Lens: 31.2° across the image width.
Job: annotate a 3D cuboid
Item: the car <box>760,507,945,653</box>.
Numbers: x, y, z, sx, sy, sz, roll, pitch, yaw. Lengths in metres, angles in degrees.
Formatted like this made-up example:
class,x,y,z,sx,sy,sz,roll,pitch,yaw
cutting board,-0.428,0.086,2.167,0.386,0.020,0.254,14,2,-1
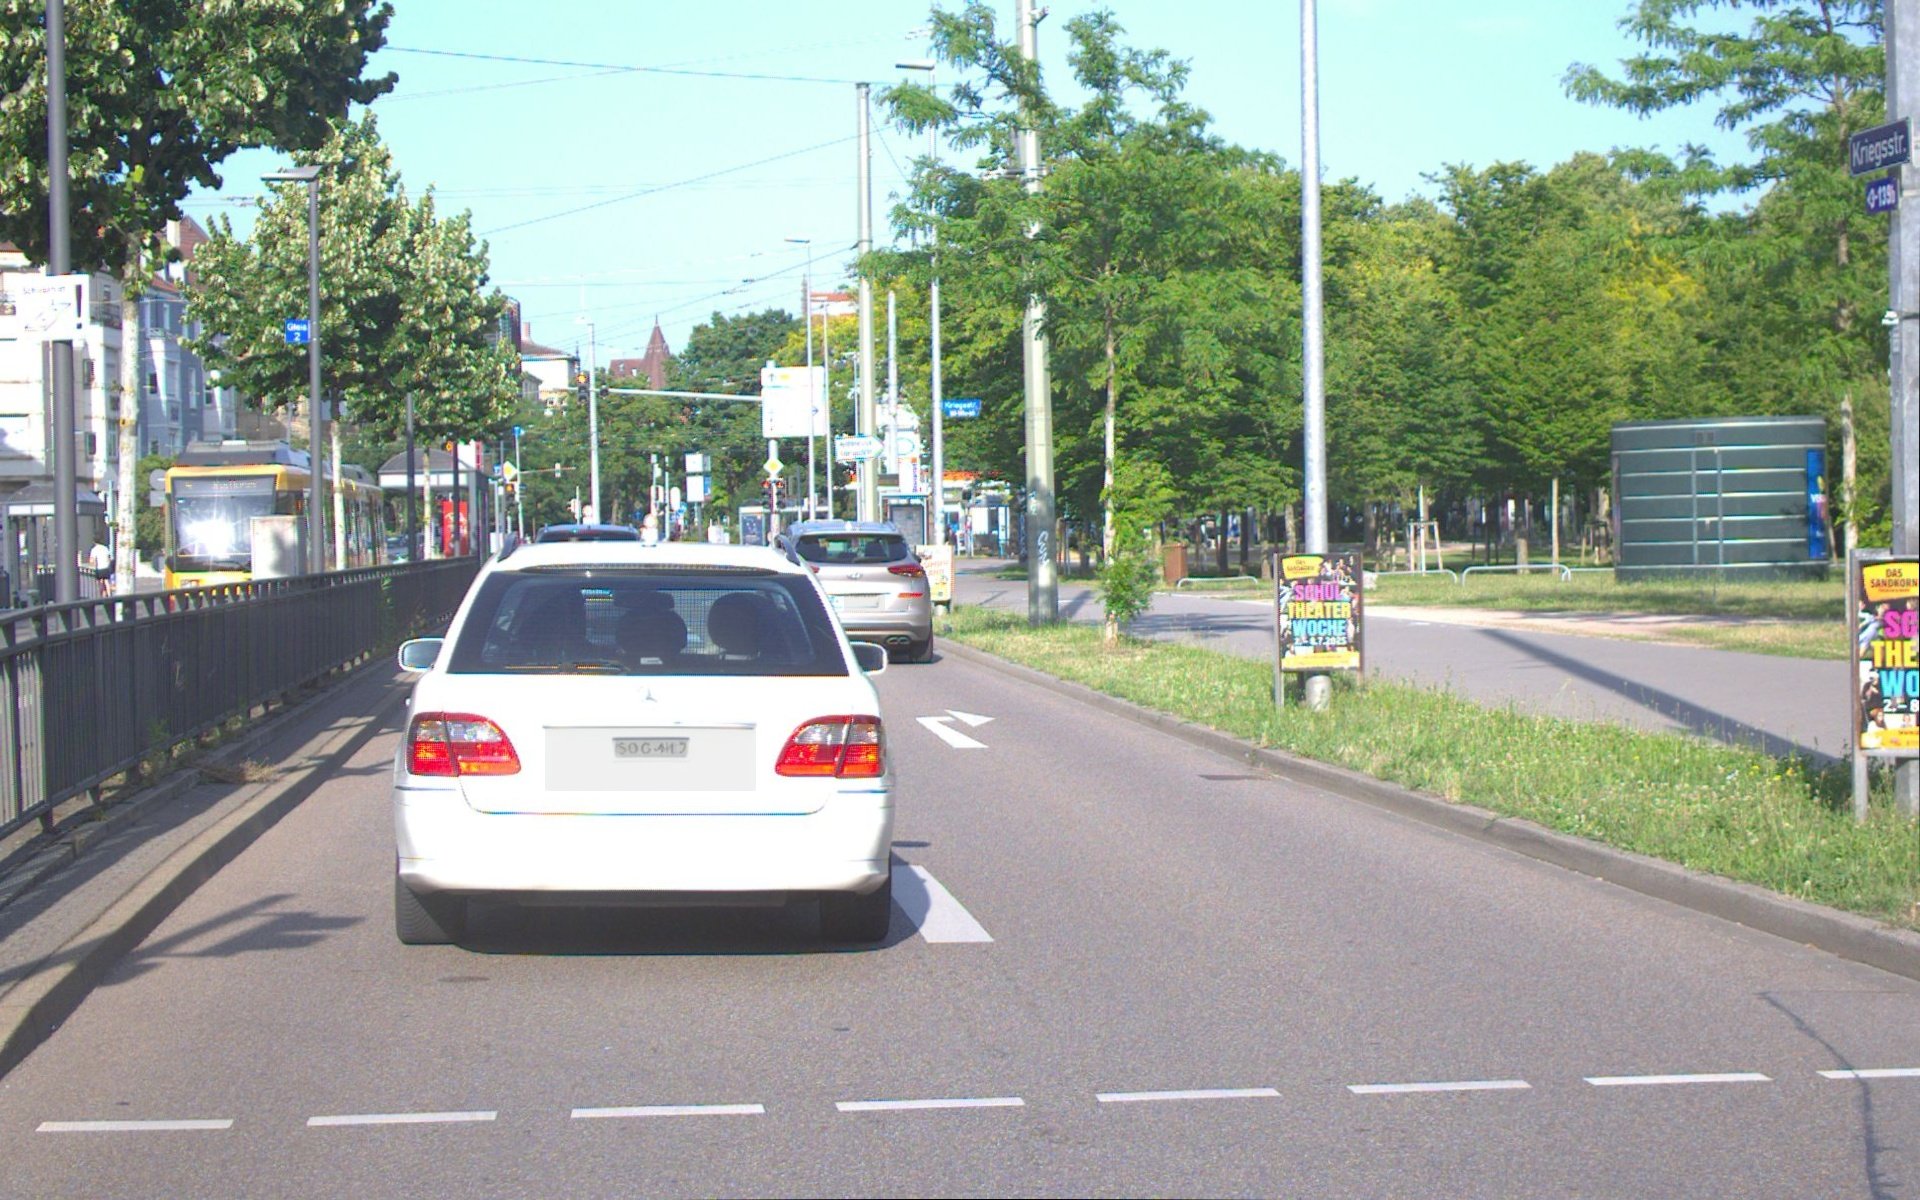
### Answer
class,x,y,z,sx,sy,sz,roll,pitch,yaw
car,-1.250,-0.272,40.010,2.033,1.600,4.001,0,1,-2

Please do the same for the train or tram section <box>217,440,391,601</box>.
class,x,y,z,sx,sy,sz,roll,pitch,yaw
train or tram section,-15.321,-1.901,81.174,2.849,3.467,13.203,0,1,-6

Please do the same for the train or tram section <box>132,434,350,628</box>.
class,x,y,z,sx,sy,sz,roll,pitch,yaw
train or tram section,-14.060,-1.422,68.246,2.849,3.467,13.203,0,2,-6

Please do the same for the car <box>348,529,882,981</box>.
class,x,y,z,sx,sy,sz,roll,pitch,yaw
car,-1.190,0.522,13.425,1.758,1.498,4.000,0,0,-1

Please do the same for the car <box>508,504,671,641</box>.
class,x,y,z,sx,sy,sz,roll,pitch,yaw
car,-4.752,-0.395,44.548,1.787,1.684,4.001,0,1,-2
